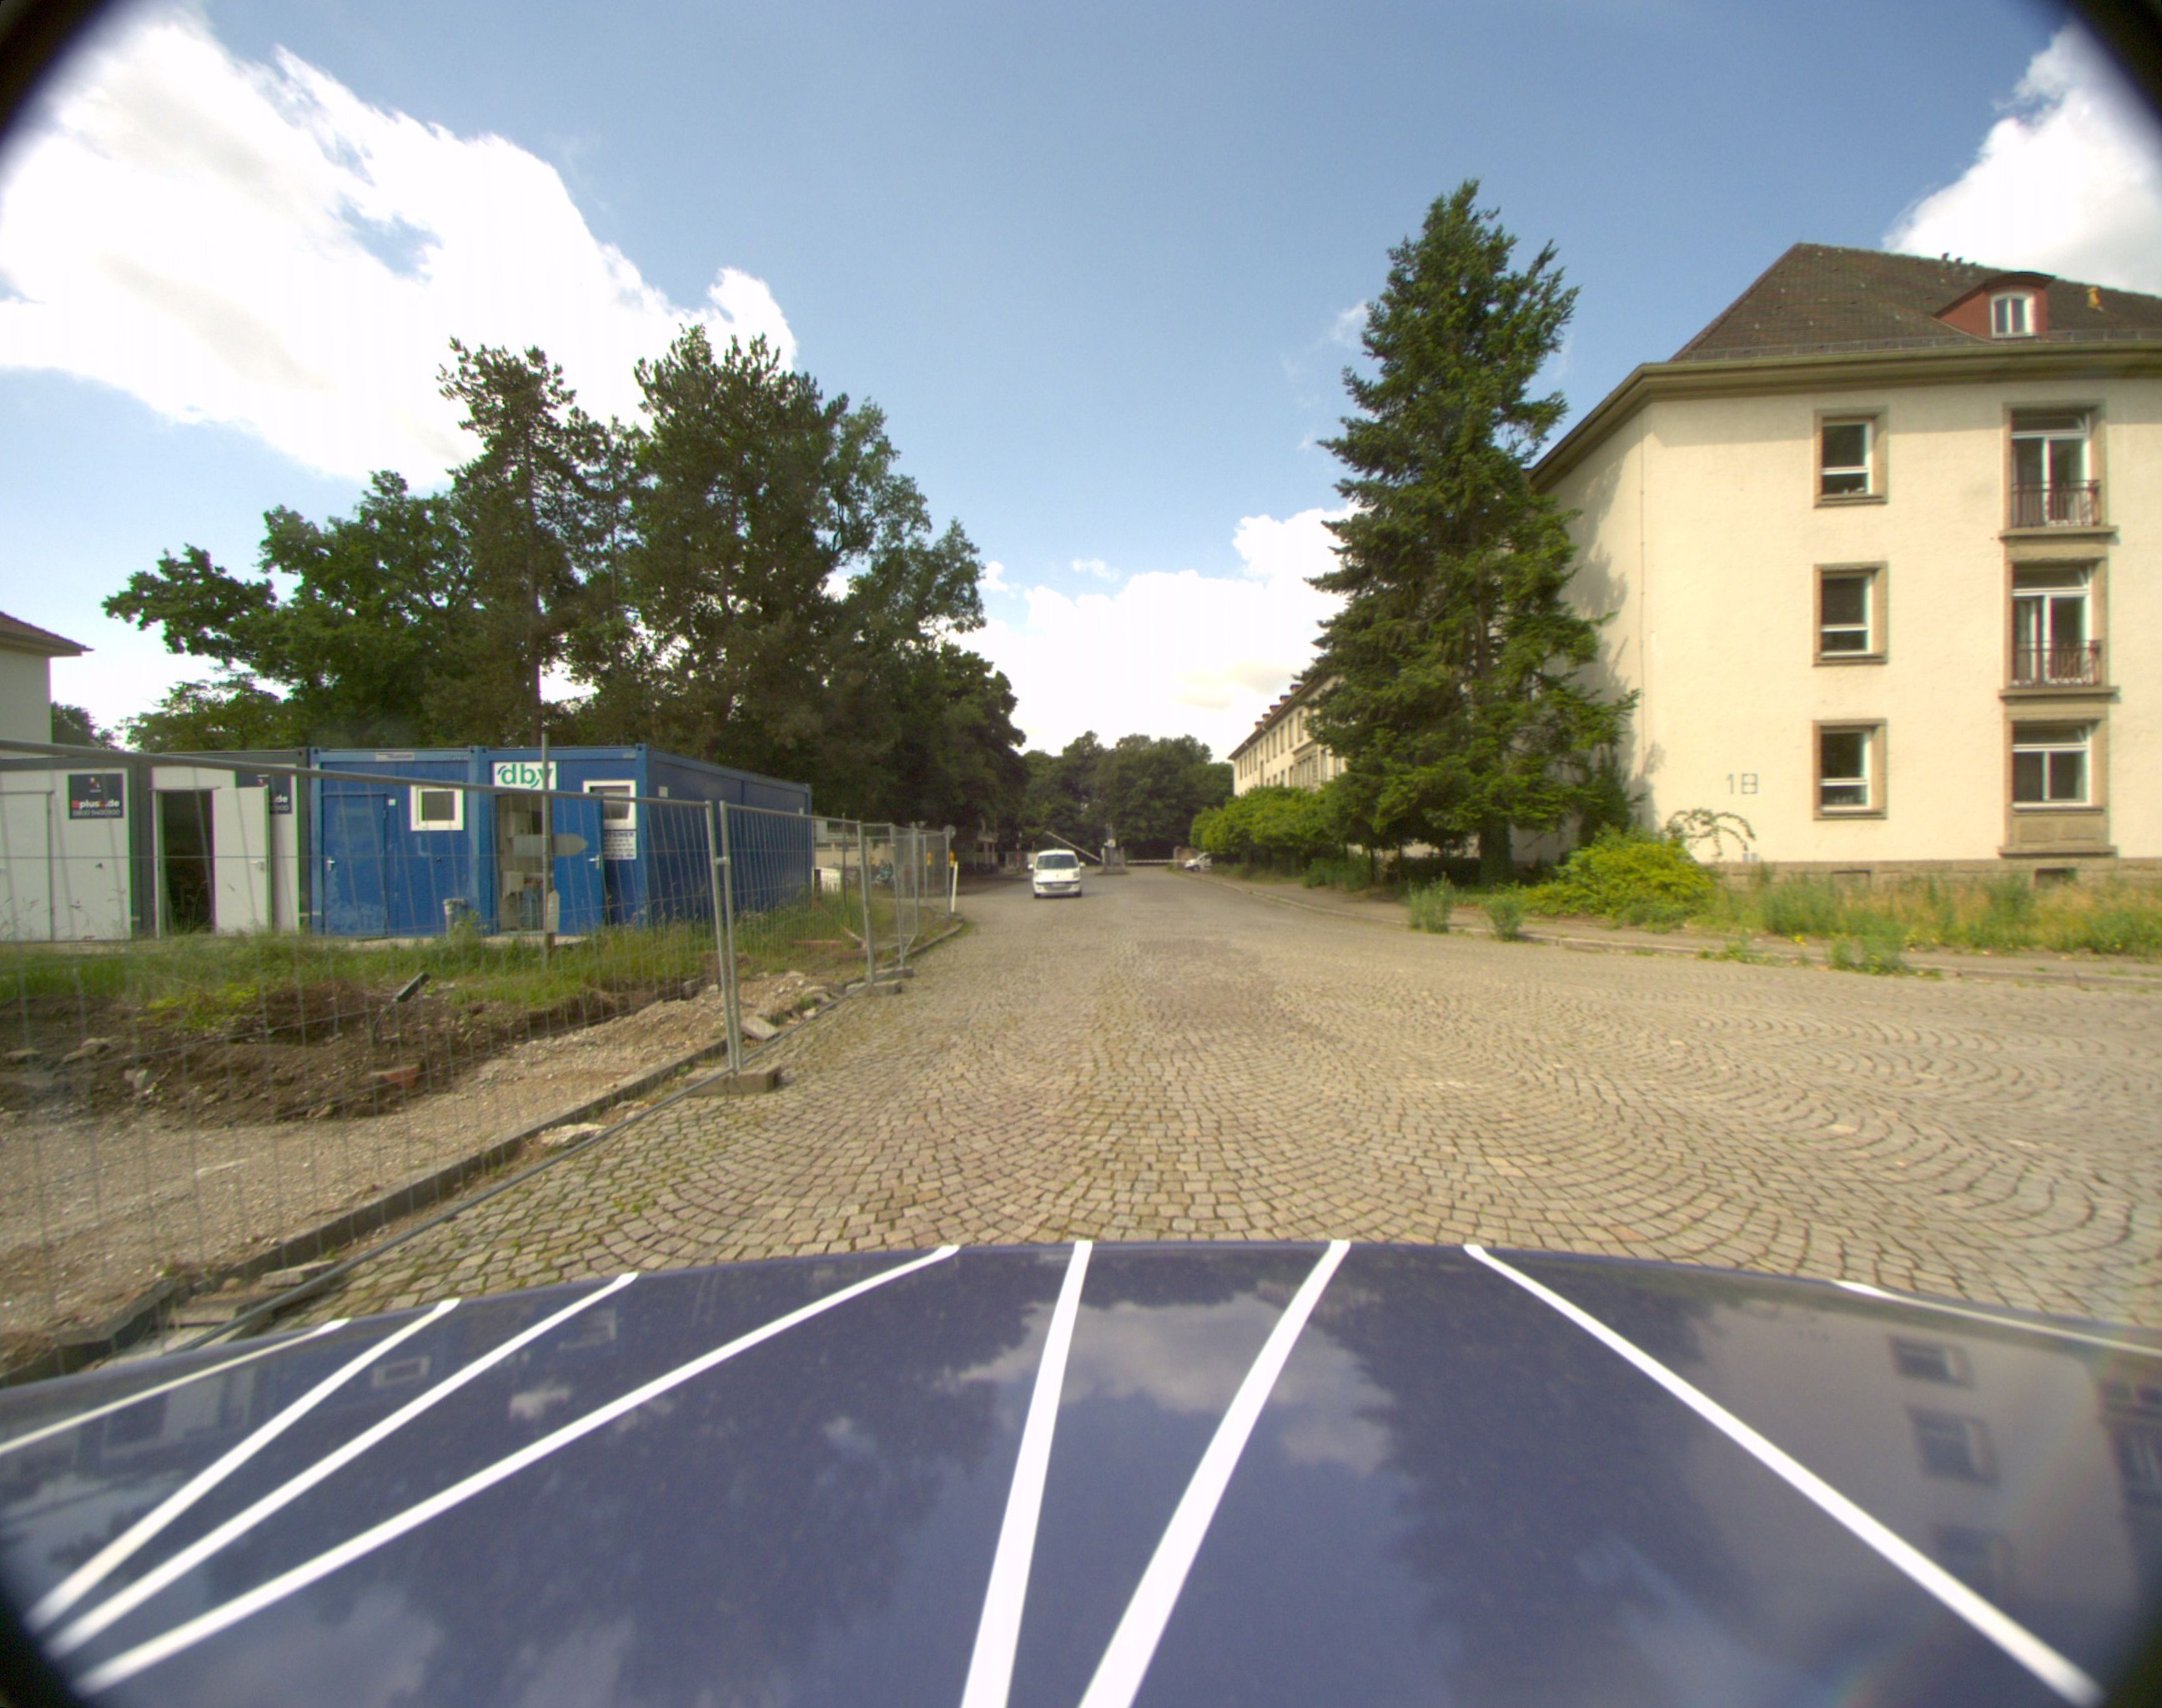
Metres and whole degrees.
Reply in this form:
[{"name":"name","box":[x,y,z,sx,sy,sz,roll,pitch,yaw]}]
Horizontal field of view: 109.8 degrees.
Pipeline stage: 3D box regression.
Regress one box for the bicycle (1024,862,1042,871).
[{"name":"bicycle","box":[-5.141,1.359,81.392,1.868,0.934,0.503,0,0,-3]}]

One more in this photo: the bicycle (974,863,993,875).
[{"name":"bicycle","box":[-8.844,1.382,68.997,1.635,1.044,0.334,0,0,-12]}]

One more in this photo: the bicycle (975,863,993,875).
[{"name":"bicycle","box":[-8.853,1.395,69.580,1.596,1.044,0.325,0,0,-5]}]

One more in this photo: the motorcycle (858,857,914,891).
[{"name":"motorcycle","box":[-8.692,0.885,33.971,2.283,1.476,0.757,-1,0,-2]}]

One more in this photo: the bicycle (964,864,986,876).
[{"name":"bicycle","box":[-9.080,1.354,64.995,1.749,0.970,0.757,0,0,-28]}]

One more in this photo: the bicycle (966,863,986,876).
[{"name":"bicycle","box":[-8.864,1.284,64.170,1.682,1.102,0.338,0,0,-11]}]

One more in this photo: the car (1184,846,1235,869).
[{"name":"car","box":[11.738,0.336,69.631,4.311,1.795,1.820,-4,1,0]}]

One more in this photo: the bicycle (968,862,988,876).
[{"name":"bicycle","box":[-8.999,1.287,66.323,1.635,1.183,0.473,0,0,-11]}]

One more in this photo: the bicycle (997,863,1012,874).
[{"name":"bicycle","box":[-7.392,1.413,73.742,1.407,1.040,0.338,-1,0,-24]}]

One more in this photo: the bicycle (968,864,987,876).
[{"name":"bicycle","box":[-8.928,1.374,65.687,1.637,0.970,0.322,0,0,-28]}]

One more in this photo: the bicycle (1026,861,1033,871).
[{"name":"bicycle","box":[-5.320,1.246,78.747,0.474,1.051,1.733,-1,0,3]}]

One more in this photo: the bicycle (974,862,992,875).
[{"name":"bicycle","box":[-8.814,1.313,68.462,1.635,1.183,0.498,0,0,-10]}]

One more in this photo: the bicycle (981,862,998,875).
[{"name":"bicycle","box":[-8.548,1.363,71.130,1.617,1.134,0.325,0,0,-5]}]

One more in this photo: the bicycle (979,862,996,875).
[{"name":"bicycle","box":[-8.705,1.358,70.721,1.617,1.134,0.325,0,0,-5]}]

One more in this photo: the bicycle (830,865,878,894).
[{"name":"bicycle","box":[-9.449,1.048,31.682,1.900,1.190,0.657,-1,0,22]}]

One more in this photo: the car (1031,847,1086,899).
[{"name":"car","box":[-0.803,0.703,29.078,1.867,1.749,4.149,-3,0,0]}]

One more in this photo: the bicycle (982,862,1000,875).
[{"name":"bicycle","box":[-8.476,1.359,71.512,1.617,1.134,0.325,0,0,-5]}]

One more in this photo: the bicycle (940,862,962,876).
[{"name":"bicycle","box":[-11.046,1.274,64.640,1.745,1.158,0.608,0,0,-2]}]

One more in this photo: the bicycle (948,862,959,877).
[{"name":"bicycle","box":[-10.339,1.252,61.632,0.598,1.110,1.635,0,0,1]}]

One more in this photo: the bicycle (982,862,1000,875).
[{"name":"bicycle","box":[-8.526,1.373,71.987,1.617,1.134,0.356,0,0,-5]}]

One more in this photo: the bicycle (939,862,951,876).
[{"name":"bicycle","box":[-11.005,1.228,61.630,0.598,1.110,1.635,0,0,1]}]

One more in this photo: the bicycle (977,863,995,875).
[{"name":"bicycle","box":[-8.774,1.363,70.089,1.596,1.134,0.325,0,0,-5]}]

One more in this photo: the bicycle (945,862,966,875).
[{"name":"bicycle","box":[-10.867,1.263,65.661,1.745,1.158,0.608,0,0,-2]}]
